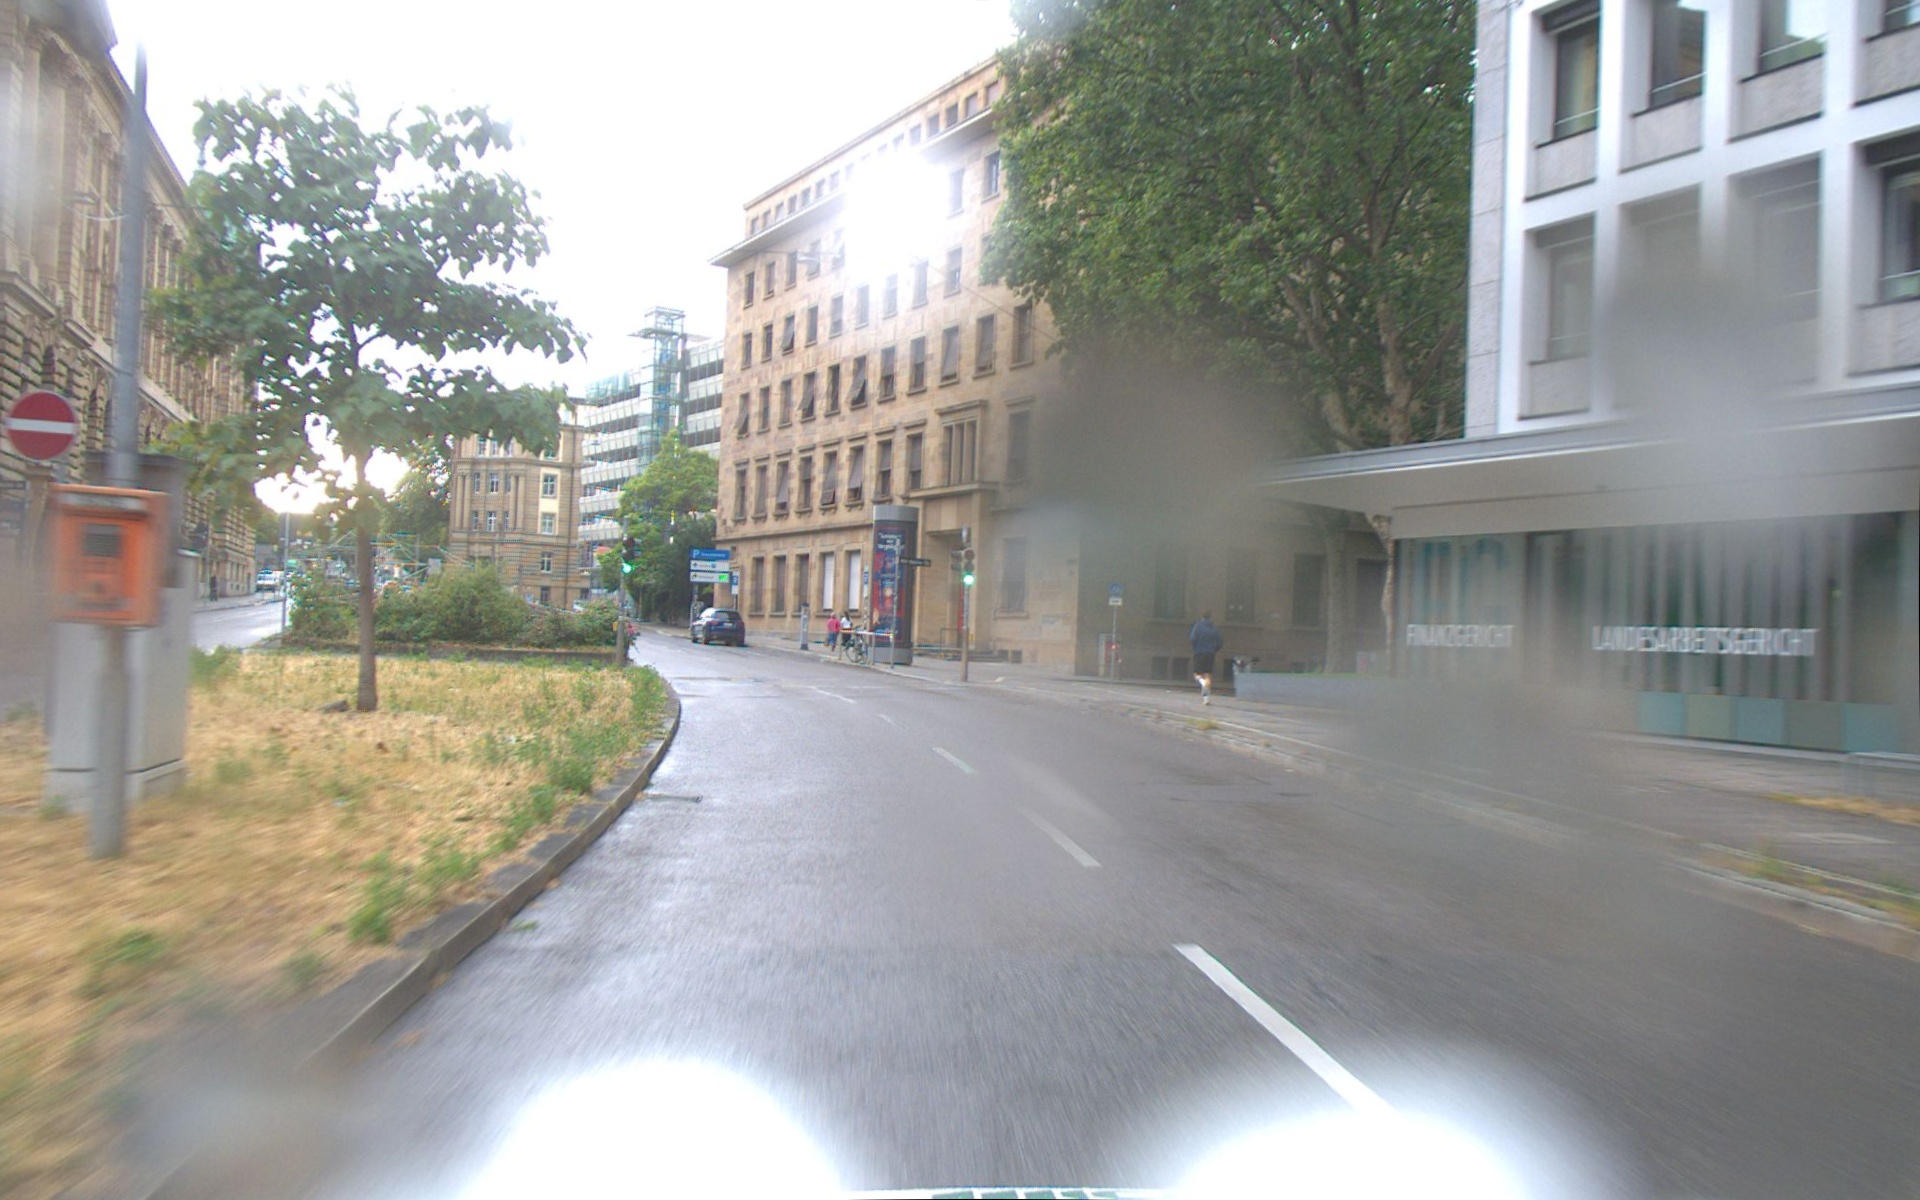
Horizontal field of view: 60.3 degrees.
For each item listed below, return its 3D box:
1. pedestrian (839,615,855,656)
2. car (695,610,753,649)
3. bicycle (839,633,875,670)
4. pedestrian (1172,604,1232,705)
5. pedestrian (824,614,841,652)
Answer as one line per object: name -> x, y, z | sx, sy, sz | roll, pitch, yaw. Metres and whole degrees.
pedestrian -> -4.692, 1.469, 68.581 | 0.515, 1.631, 0.671 | 3, -1, -13
car -> -10.810, 1.337, 75.458 | 1.742, 1.647, 4.132 | 3, -2, -20
bicycle -> -3.061, 1.522, 48.879 | 0.482, 1.030, 1.916 | 3, -1, -20
pedestrian -> 4.425, 0.989, 30.298 | 0.766, 1.803, 0.860 | 3, -1, -12
pedestrian -> -5.254, 1.361, 68.266 | 0.516, 1.518, 0.670 | 3, -1, -17
